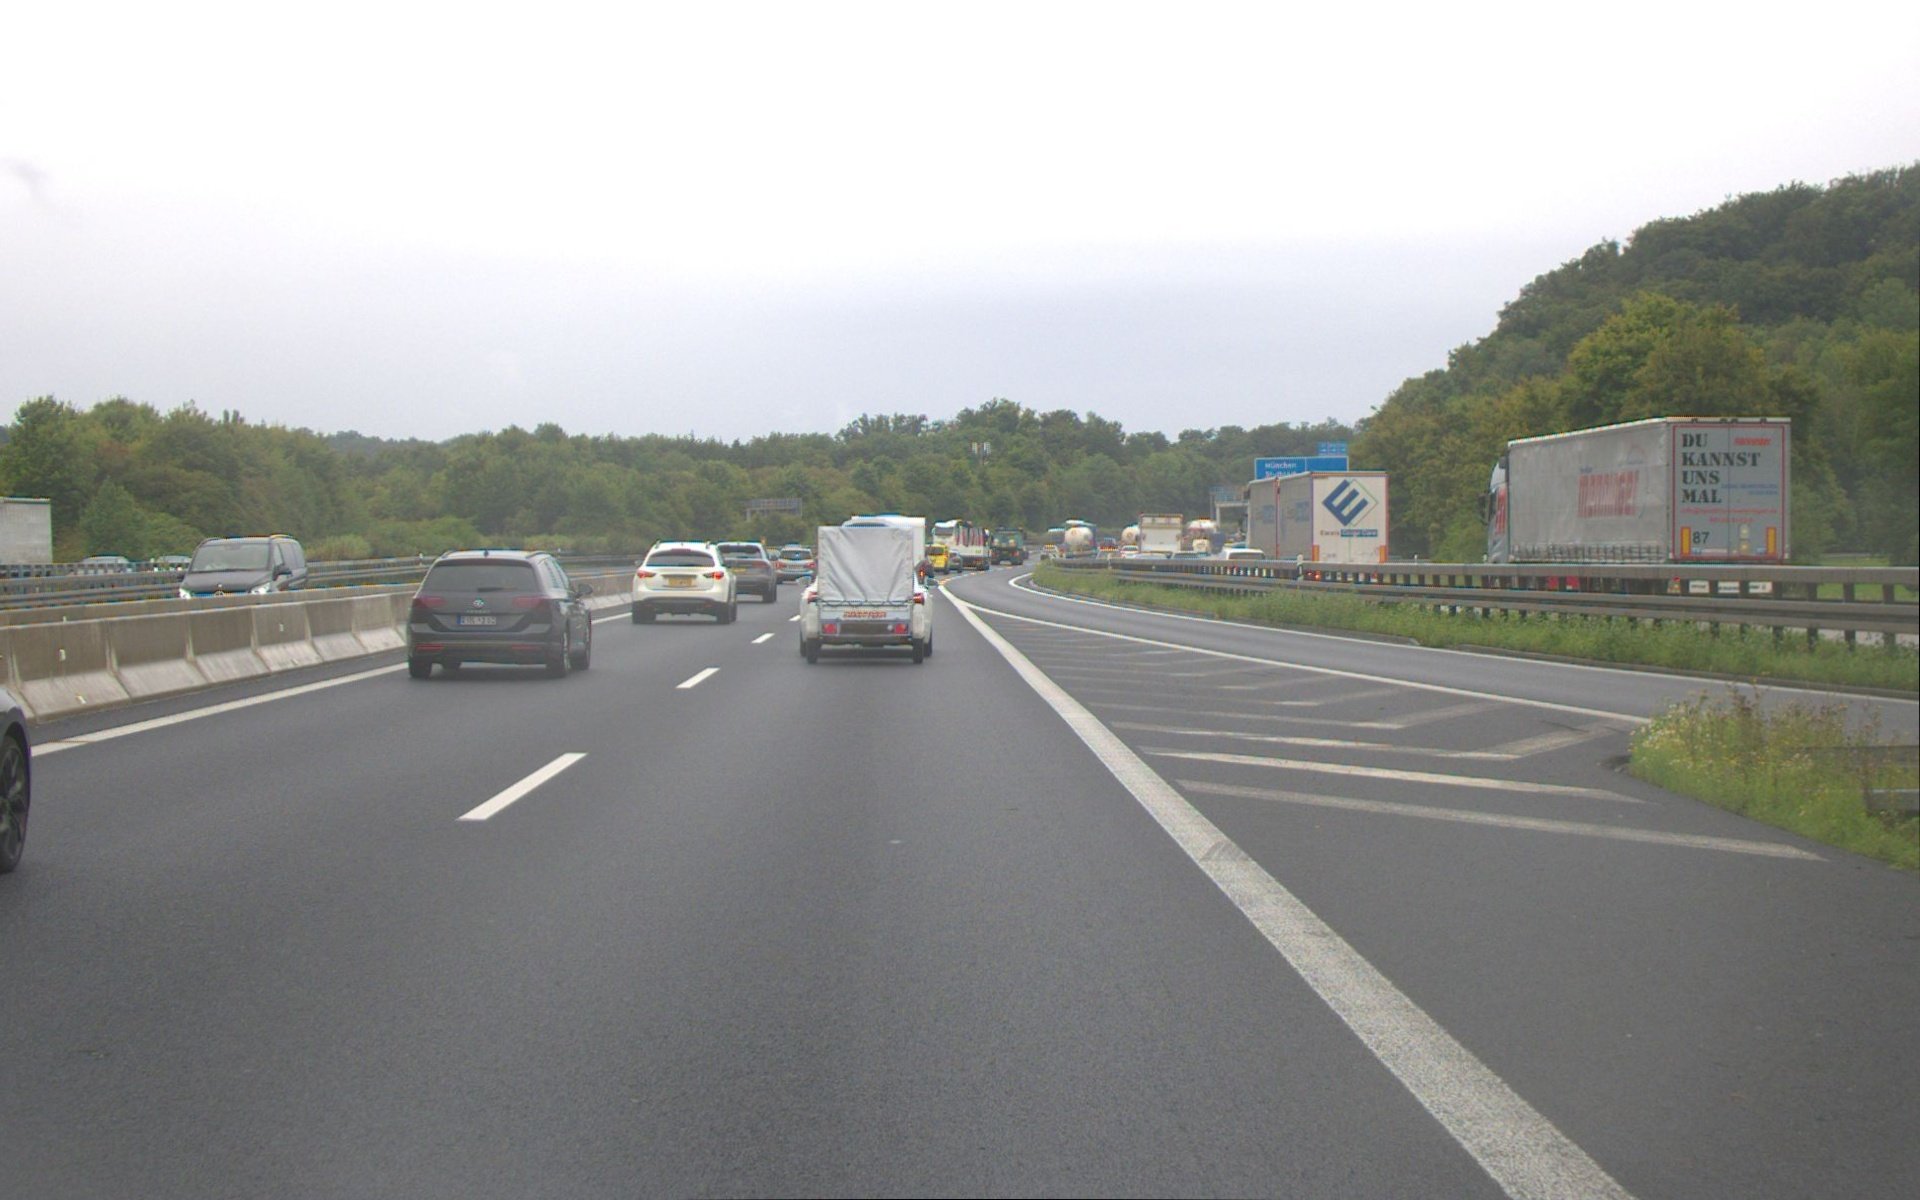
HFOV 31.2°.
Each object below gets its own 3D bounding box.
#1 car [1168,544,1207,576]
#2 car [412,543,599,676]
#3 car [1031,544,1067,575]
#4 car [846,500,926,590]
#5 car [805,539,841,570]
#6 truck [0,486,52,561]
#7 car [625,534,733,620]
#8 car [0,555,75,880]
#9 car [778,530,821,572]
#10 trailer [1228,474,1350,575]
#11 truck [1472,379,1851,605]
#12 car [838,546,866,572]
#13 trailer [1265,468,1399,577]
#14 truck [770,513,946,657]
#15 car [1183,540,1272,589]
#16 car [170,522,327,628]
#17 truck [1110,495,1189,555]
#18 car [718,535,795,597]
[{"bbox_3d":[11.549,-2.038,175.003,1.645,1.568,4.000,1,1,-1],"label":"car"},{"bbox_3d":[-5.336,0.068,40.820,1.787,1.454,4.803,1,1,-3],"label":"car"},{"bbox_3d":[4.557,-2.072,176.173,1.645,1.568,4.000,1,1,-1],"label":"car"},{"bbox_3d":[-2.367,-1.726,107.820,2.331,2.716,6.541,0,1,-3],"label":"car"},{"bbox_3d":[-7.278,-2.418,182.817,1.819,1.656,4.017,0,1,-1],"label":"car"},{"bbox_3d":[-37.806,-2.956,133.935,2.739,2.863,8.542,0,1,-1],"label":"truck"},{"bbox_3d":[-5.723,-0.481,69.570,2.048,1.665,4.542,1,1,-6],"label":"car"},{"bbox_3d":[-5.113,0.522,14.180,1.830,1.420,4.368,1,1,-1],"label":"car"},{"bbox_3d":[-7.028,-2.152,150.729,1.738,1.787,4.000,1,1,-1],"label":"car"},{"bbox_3d":[11.926,-2.718,125.457,2.937,3.515,8.421,1,1,-5],"label":"trailer"},{"bbox_3d":[15.338,-2.259,77.386,3.820,4.525,16.888,0,1,-5],"label":"truck"},{"bbox_3d":[-6.828,-2.596,217.203,1.645,1.568,4.000,1,1,-1],"label":"car"},{"bbox_3d":[12.609,-2.597,117.194,3.077,3.515,8.086,1,1,-4],"label":"trailer"},{"bbox_3d":[-1.367,-0.212,47.427,2.242,1.833,6.585,0,0,-1],"label":"truck"},{"bbox_3d":[8.985,-1.192,115.806,1.993,1.611,5.080,0,1,-7],"label":"car"},{"bbox_3d":[-14.038,-0.522,68.091,1.993,2.007,5.099,0,1,0],"label":"car"},{"bbox_3d":[11.837,-4.686,215.787,3.824,3.646,8.273,1,1,-5],"label":"truck"},{"bbox_3d":[-5.774,-0.988,98.058,1.975,1.697,4.803,1,1,-1],"label":"car"}]
